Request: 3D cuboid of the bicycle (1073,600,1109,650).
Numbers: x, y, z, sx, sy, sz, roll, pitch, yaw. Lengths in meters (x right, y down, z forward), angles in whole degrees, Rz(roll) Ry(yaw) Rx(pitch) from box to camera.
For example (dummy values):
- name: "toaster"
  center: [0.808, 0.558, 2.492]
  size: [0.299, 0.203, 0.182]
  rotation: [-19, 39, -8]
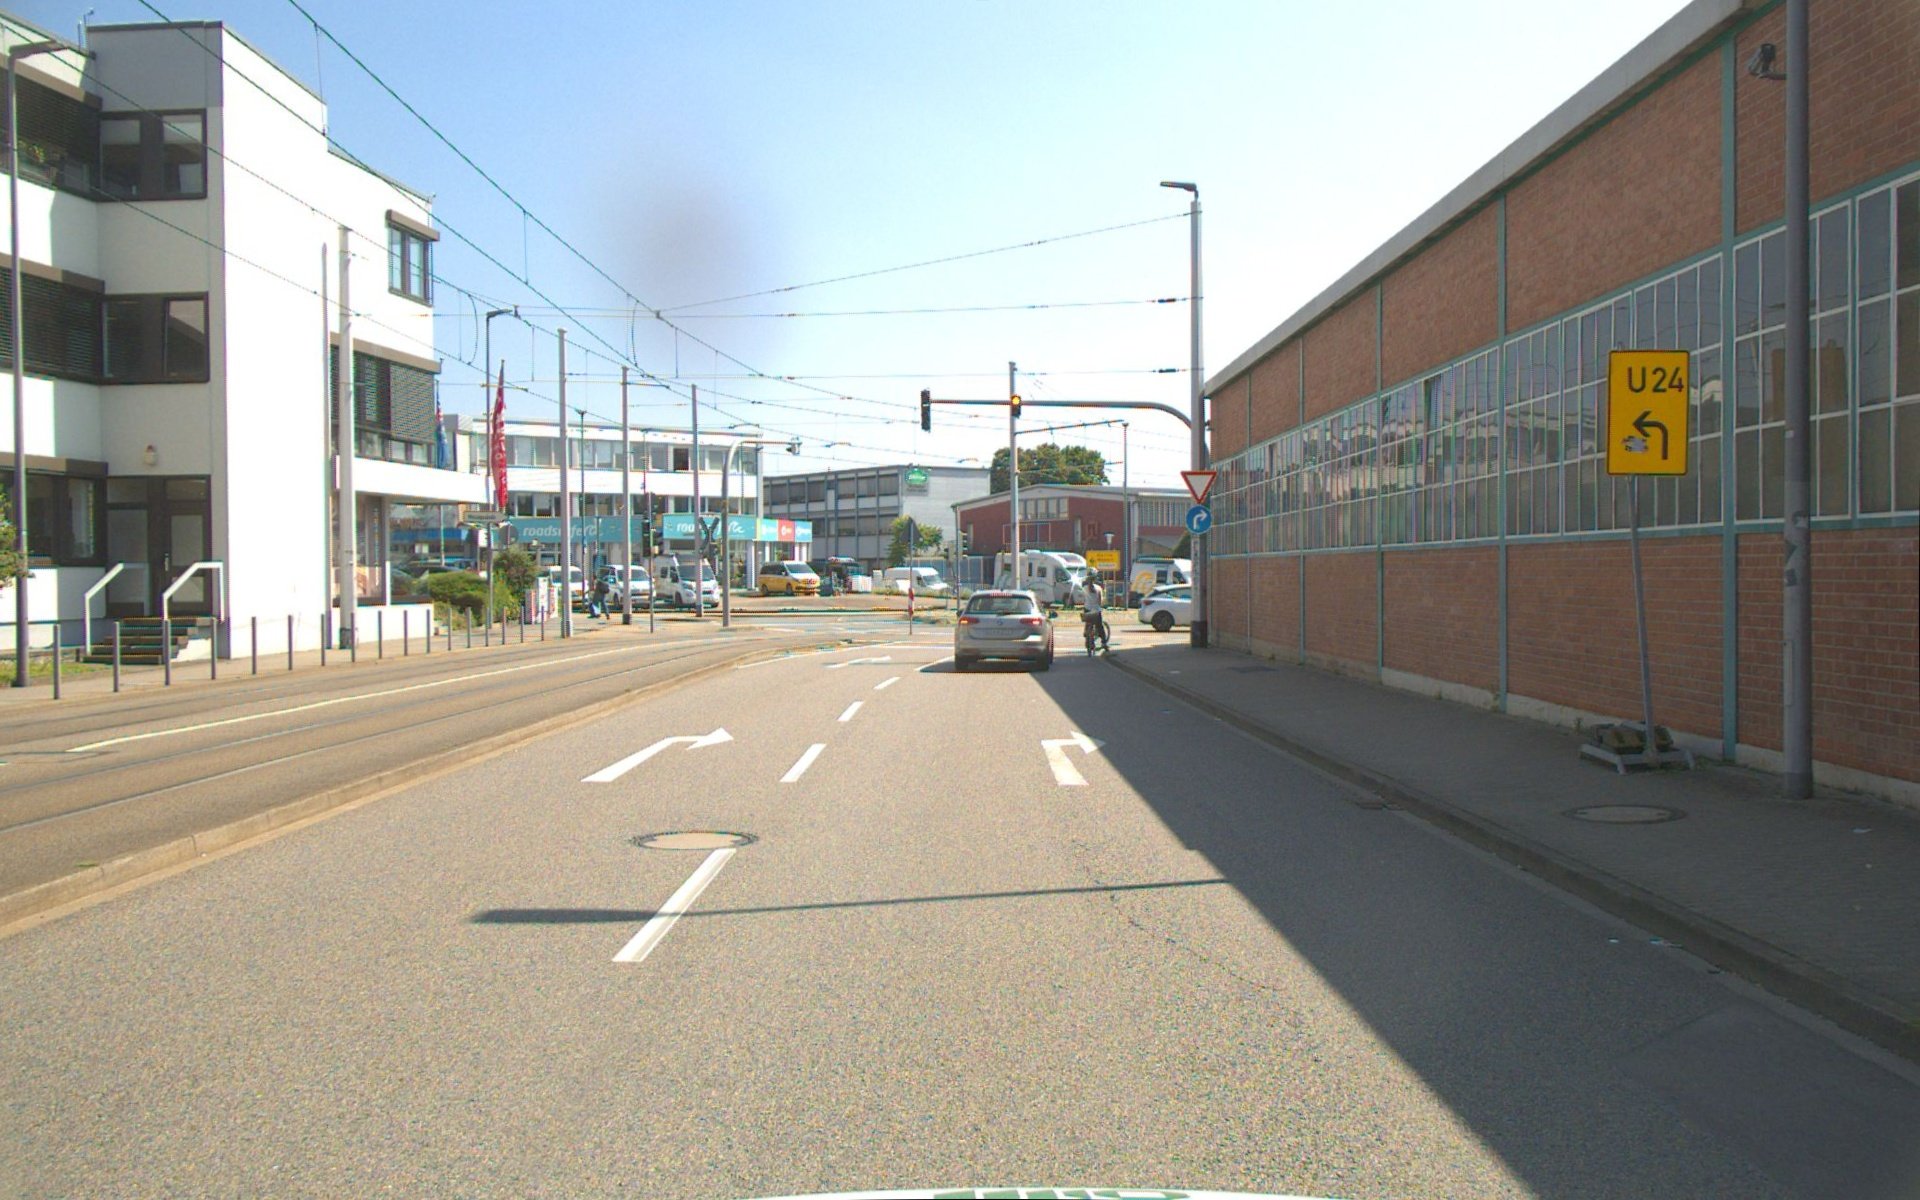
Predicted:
- name: "bicycle"
  center: [2.899, 0.533, 36.682]
  size: [0.777, 1.039, 2.152]
  rotation: [0, 1, 4]

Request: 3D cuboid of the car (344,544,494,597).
- name: "car"
  center: [-16.661, -0.924, 51.051]
  size: [3.903, 1.545, 2.002]
  rotation: [0, 3, 3]

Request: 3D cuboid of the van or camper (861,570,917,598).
- name: "van or camper"
  center: [-5.215, -1.177, 121.665]
  size: [3.933, 1.982, 1.986]
  rotation: [1, 1, 45]

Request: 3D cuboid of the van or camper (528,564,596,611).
- name: "van or camper"
  center: [-19.206, -0.626, 79.717]
  size: [1.972, 2.048, 4.717]
  rotation: [-1, 3, -29]

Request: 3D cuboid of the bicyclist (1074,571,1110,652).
- name: "bicyclist"
  center: [2.891, 0.234, 36.366]
  size: [0.769, 1.752, 1.147]
  rotation: [0, 0, 4]

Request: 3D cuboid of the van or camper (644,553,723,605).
- name: "van or camper"
  center: [-13.677, -1.065, 81.487]
  size: [2.009, 2.336, 5.757]
  rotation: [-1, 3, -29]

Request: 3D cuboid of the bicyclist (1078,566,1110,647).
- name: "bicyclist"
  center: [3.070, 0.146, 38.017]
  size: [0.693, 1.842, 0.983]
  rotation: [0, 0, 3]

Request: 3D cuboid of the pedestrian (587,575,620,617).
- name: "pedestrian"
  center: [-12.904, -0.149, 59.866]
  size: [1.109, 1.480, 0.836]
  rotation: [0, 0, -9]

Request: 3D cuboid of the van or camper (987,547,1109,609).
- name: "van or camper"
  center: [4.572, -1.209, 86.998]
  size: [2.334, 2.981, 6.882]
  rotation: [-2, 4, -41]

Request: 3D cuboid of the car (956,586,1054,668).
- name: "car"
  center: [0.919, 0.470, 31.860]
  size: [1.709, 1.484, 4.002]
  rotation: [0, 0, 4]

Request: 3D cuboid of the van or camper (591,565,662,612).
- name: "van or camper"
  center: [-16.210, -0.609, 80.125]
  size: [1.972, 2.048, 4.962]
  rotation: [-1, 3, -29]

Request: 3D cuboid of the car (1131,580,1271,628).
- name: "car"
  center: [7.287, 0.122, 50.232]
  size: [4.102, 1.399, 1.804]
  rotation: [0, 0, 7]

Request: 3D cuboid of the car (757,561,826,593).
- name: "car"
  center: [-9.778, -1.327, 95.421]
  size: [1.920, 1.790, 5.065]
  rotation: [-1, 1, -33]

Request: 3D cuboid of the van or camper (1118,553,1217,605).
- name: "van or camper"
  center: [11.033, -1.165, 88.417]
  size: [2.264, 2.482, 5.321]
  rotation: [-2, 5, -35]

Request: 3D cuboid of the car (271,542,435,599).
- name: "car"
  center: [-17.192, -0.826, 46.967]
  size: [3.903, 1.590, 2.001]
  rotation: [0, 0, 3]
